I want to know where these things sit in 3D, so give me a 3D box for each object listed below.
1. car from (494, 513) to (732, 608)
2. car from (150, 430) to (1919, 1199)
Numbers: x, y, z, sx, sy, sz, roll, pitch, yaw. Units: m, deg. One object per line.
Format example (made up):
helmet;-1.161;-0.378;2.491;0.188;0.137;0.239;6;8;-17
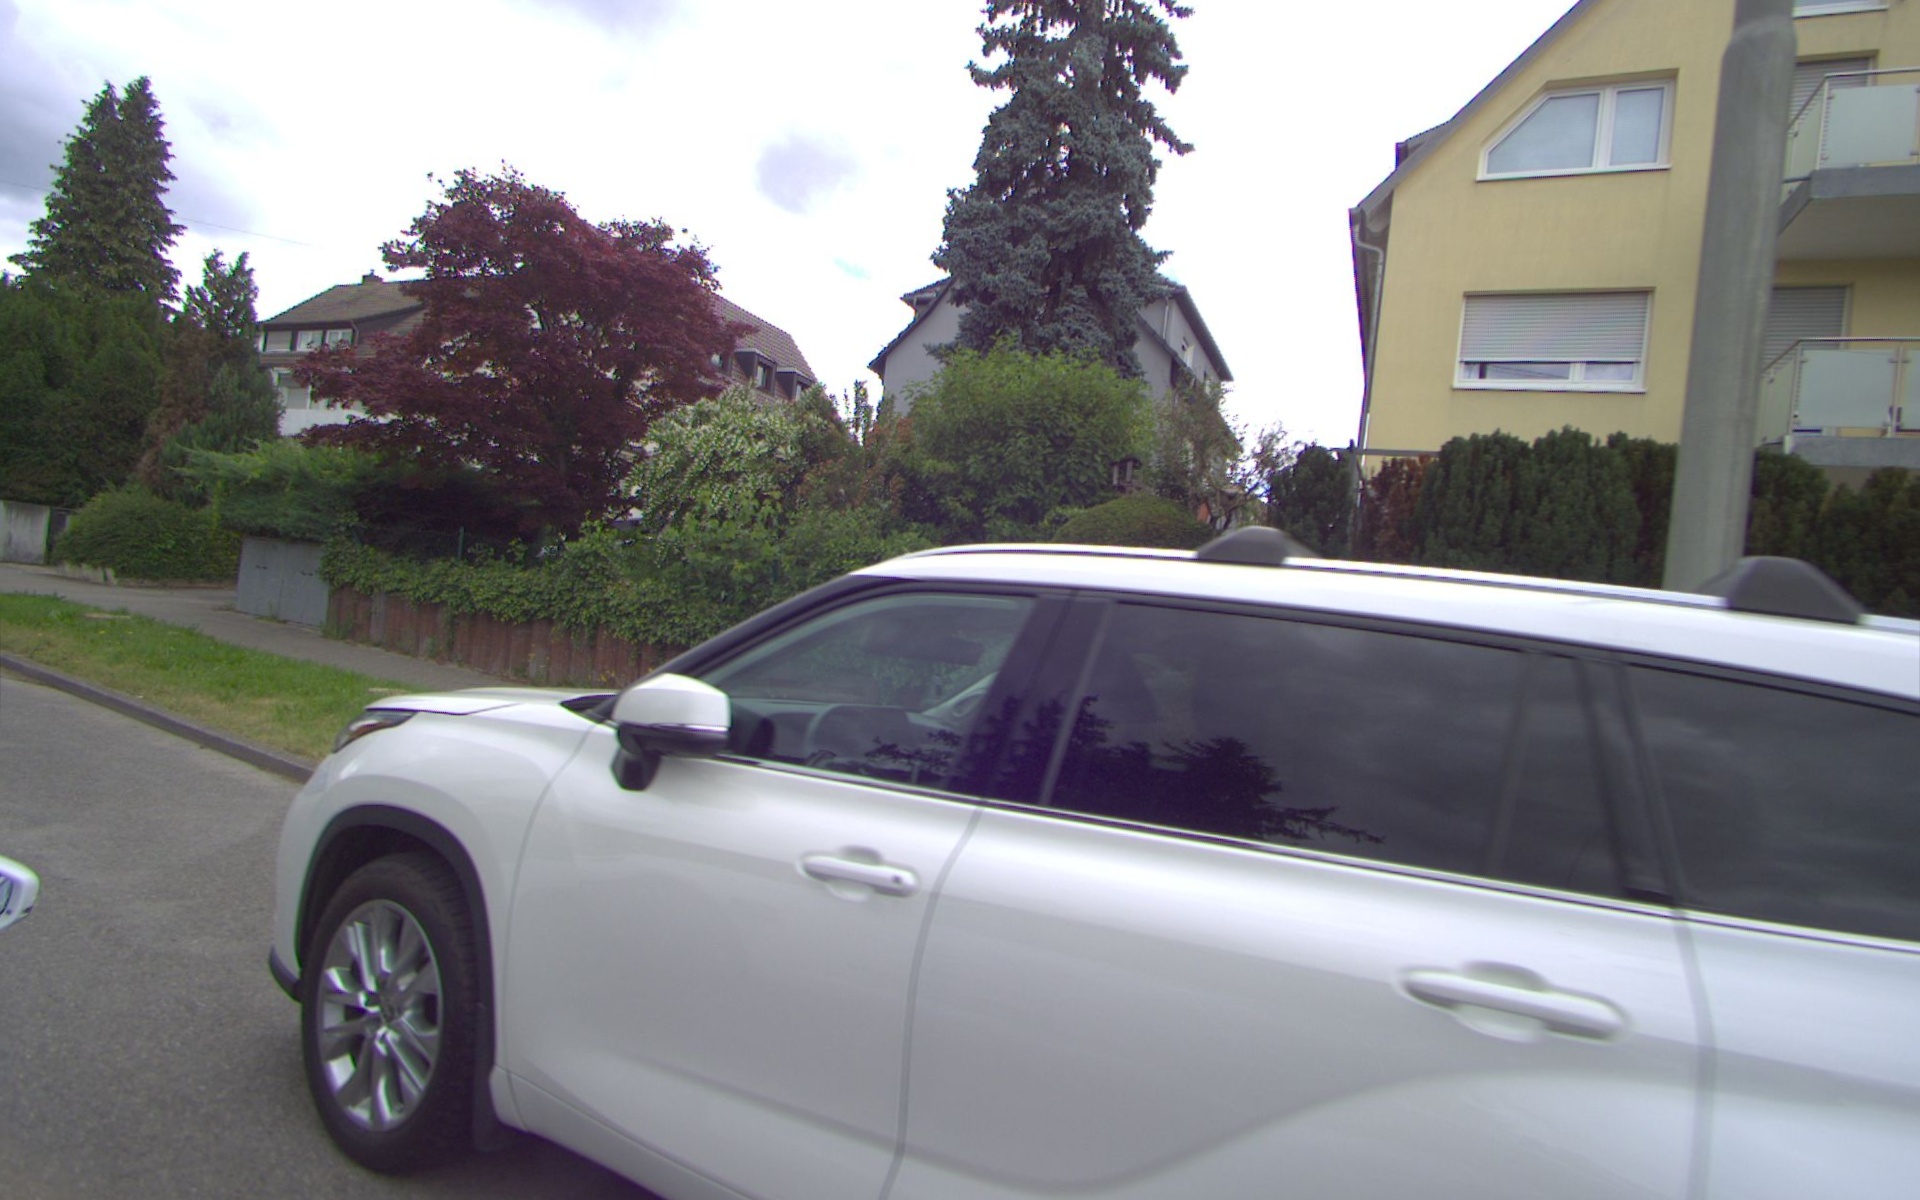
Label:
car;-6.862;-0.732;19.871;4.458;1.700;1.780;1;0;25
car;0.168;0.729;2.594;4.625;1.798;1.804;7;-2;30
